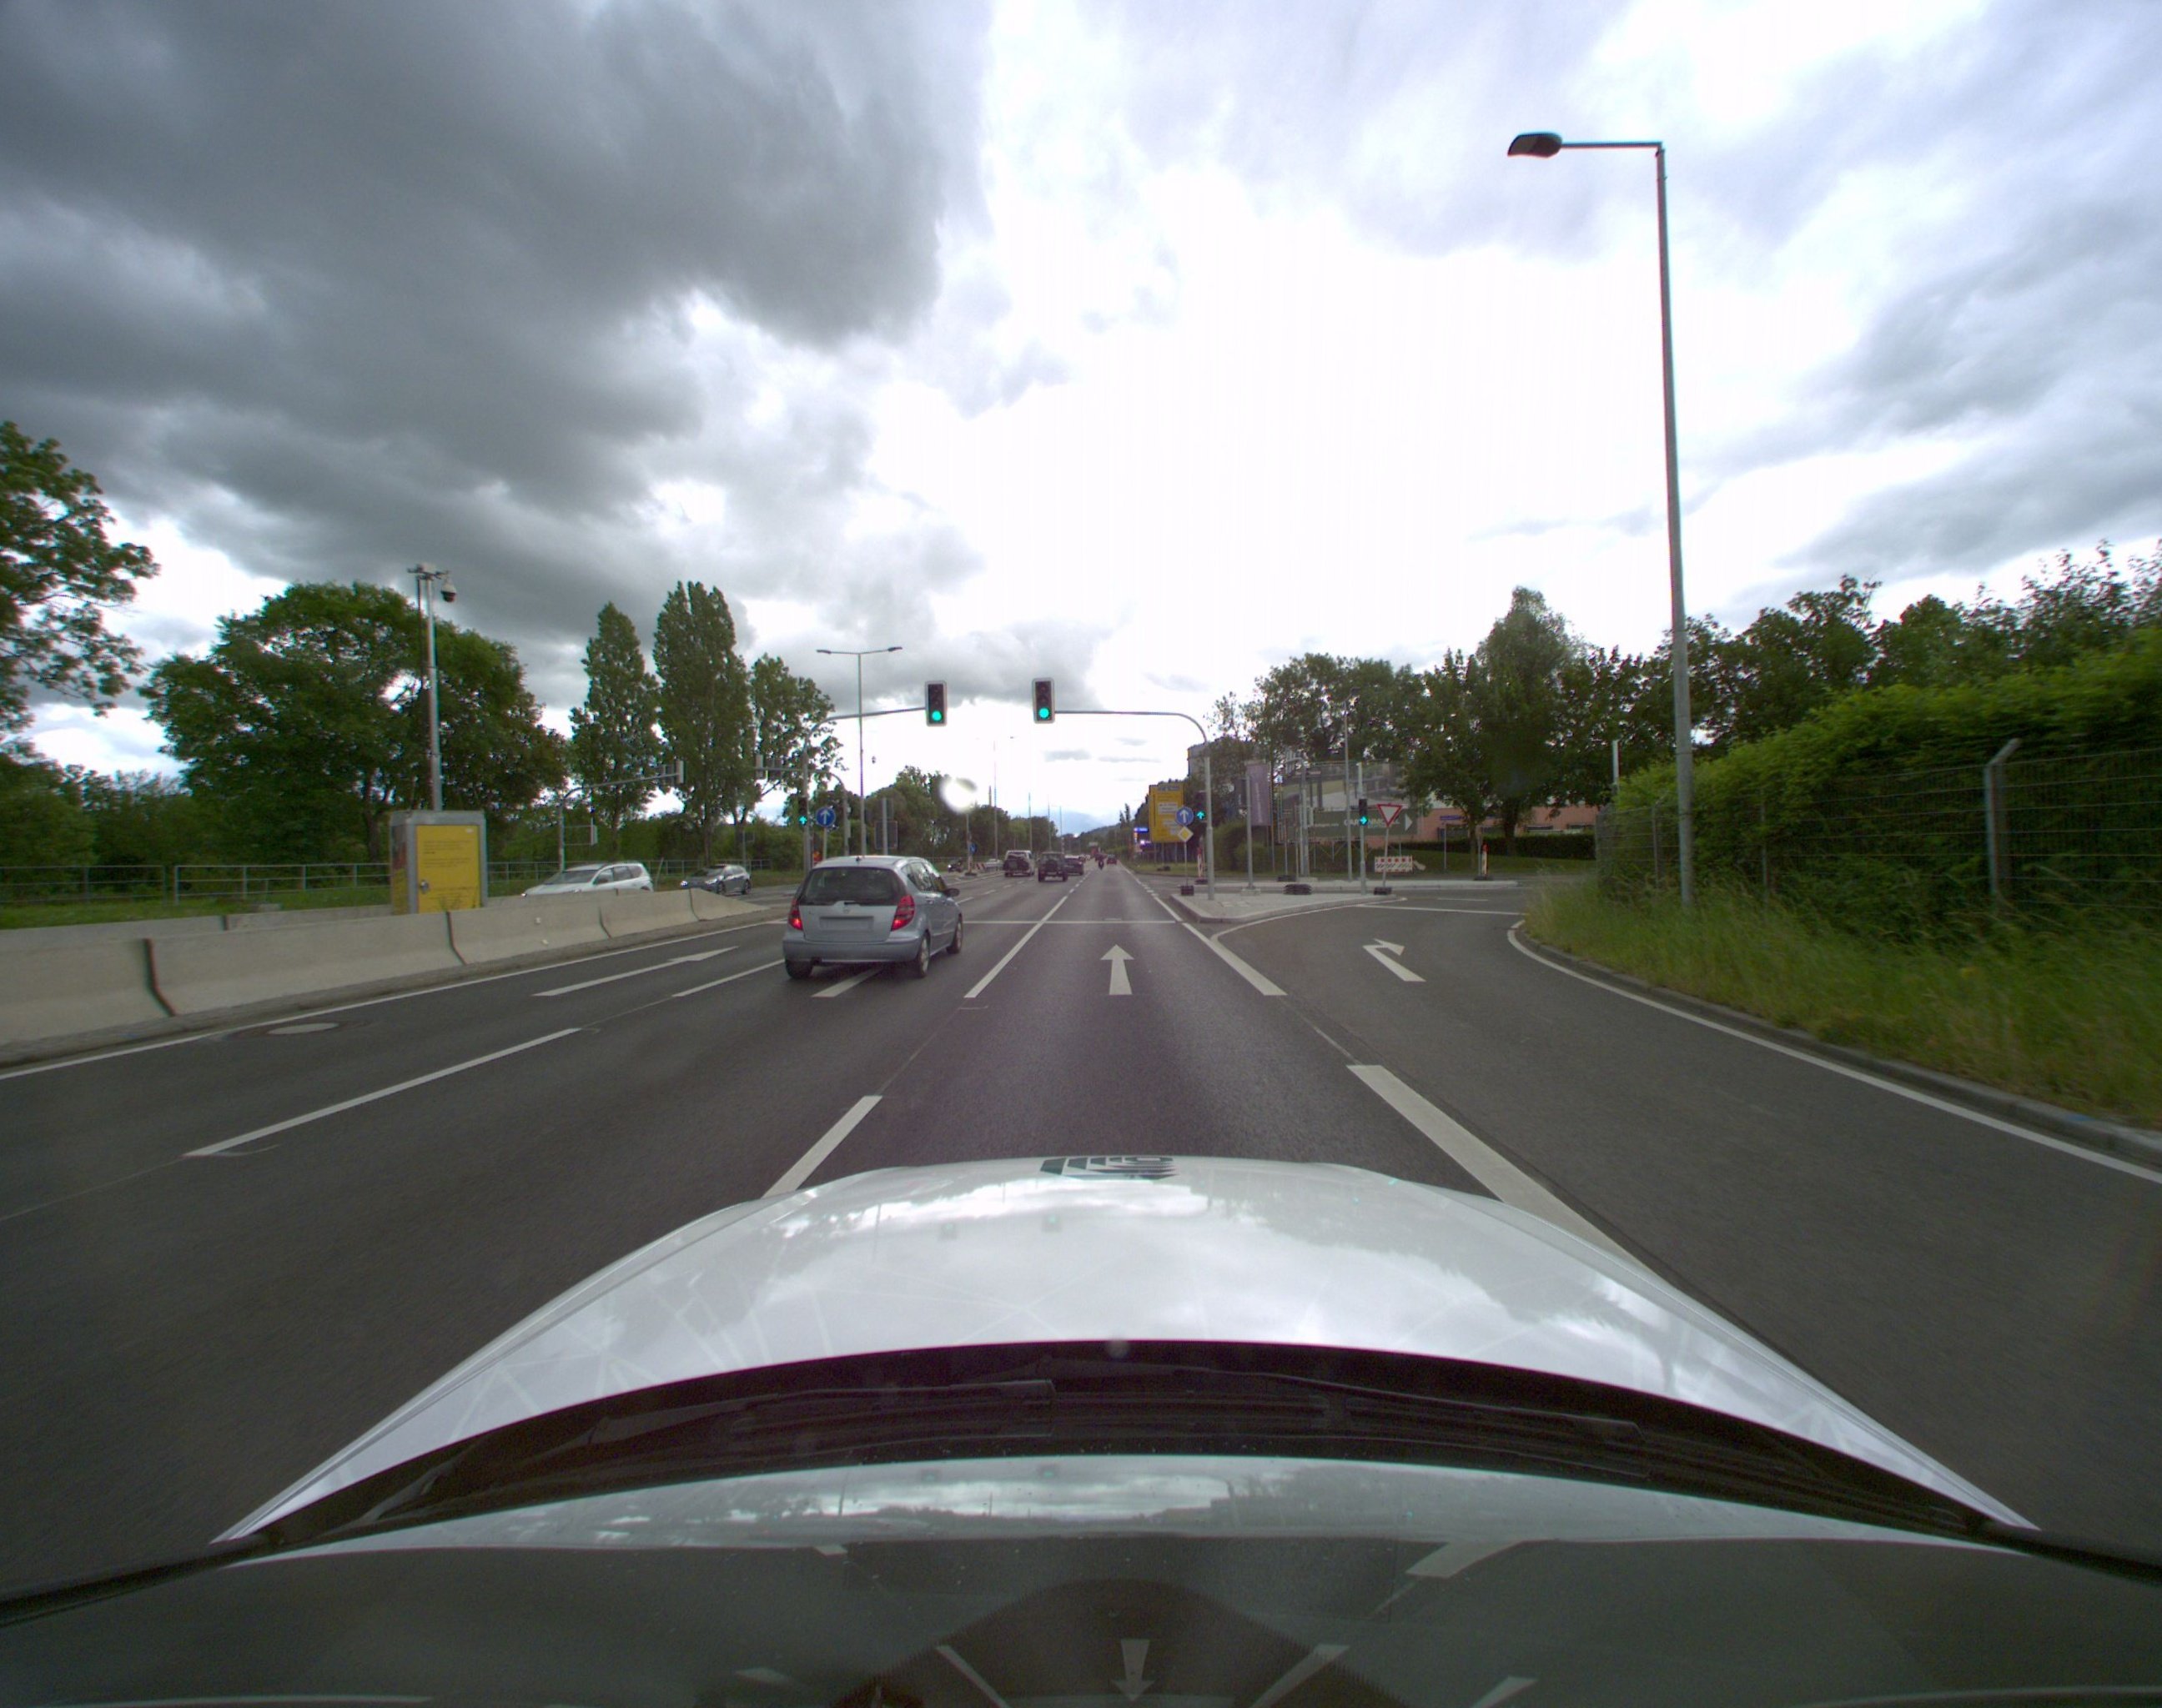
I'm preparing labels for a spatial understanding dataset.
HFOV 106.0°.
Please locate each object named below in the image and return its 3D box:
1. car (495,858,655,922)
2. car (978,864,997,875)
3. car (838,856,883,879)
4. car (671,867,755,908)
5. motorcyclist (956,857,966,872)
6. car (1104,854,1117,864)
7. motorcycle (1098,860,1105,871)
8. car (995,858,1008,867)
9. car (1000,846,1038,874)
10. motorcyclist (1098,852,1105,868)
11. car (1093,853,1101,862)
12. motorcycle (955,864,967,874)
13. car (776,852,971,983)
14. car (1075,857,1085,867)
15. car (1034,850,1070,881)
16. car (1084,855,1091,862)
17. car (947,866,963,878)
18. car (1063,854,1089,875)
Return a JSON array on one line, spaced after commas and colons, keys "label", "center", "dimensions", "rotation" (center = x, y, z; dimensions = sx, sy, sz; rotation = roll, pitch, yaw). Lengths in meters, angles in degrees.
[{"label": "car", "center": [-15.190, 1.012, 24.789], "dimensions": [1.986, 1.684, 4.413], "rotation": [1, 0, 1]}, {"label": "car", "center": [-13.650, 2.249, 119.259], "dimensions": [1.986, 1.493, 4.807], "rotation": [1, 0, 2]}, {"label": "car", "center": [-16.634, 1.008, 61.591], "dimensions": [1.986, 1.550, 4.569], "rotation": [-1, 0, 1]}, {"label": "car", "center": [-17.623, 1.543, 39.282], "dimensions": [1.986, 1.656, 4.290], "rotation": [1, 2, 2]}, {"label": "motorcyclist", "center": [-12.753, 1.118, 86.584], "dimensions": [0.909, 1.522, 0.981], "rotation": [1, -3, 2]}, {"label": "car", "center": [4.784, 0.842, 130.841], "dimensions": [1.987, 1.552, 4.000], "rotation": [1, 0, 1]}, {"label": "motorcycle", "center": [2.082, 1.146, 82.729], "dimensions": [0.703, 1.040, 2.029], "rotation": [1, 0, 3]}, {"label": "car", "center": [-15.619, 1.618, 159.281], "dimensions": [1.986, 1.640, 4.002], "rotation": [1, 0, 2]}, {"label": "car", "center": [-4.458, 0.426, 59.174], "dimensions": [2.207, 1.925, 5.003], "rotation": [1, 0, 1]}, {"label": "motorcyclist", "center": [2.092, 0.640, 82.877], "dimensions": [0.682, 1.610, 0.846], "rotation": [1, 0, 3]}, {"label": "car", "center": [3.892, 0.810, 197.833], "dimensions": [1.986, 2.013, 4.002], "rotation": [1, 0, 2]}, {"label": "motorcycle", "center": [-12.765, 1.600, 86.516], "dimensions": [0.909, 0.989, 2.164], "rotation": [1, -3, 2]}, {"label": "car", "center": [-2.766, 0.758, 11.795], "dimensions": [1.704, 1.530, 4.001], "rotation": [1, 0, 1]}, {"label": "car", "center": [-0.167, 1.737, 179.489], "dimensions": [1.986, 2.013, 4.002], "rotation": [1, 0, 2]}, {"label": "car", "center": [-1.676, 0.647, 48.259], "dimensions": [1.901, 1.684, 4.001], "rotation": [1, 0, 1]}, {"label": "car", "center": [2.035, 1.417, 251.043], "dimensions": [1.986, 2.013, 4.002], "rotation": [1, 0, 2]}, {"label": "car", "center": [-15.644, 2.230, 100.856], "dimensions": [1.467, 1.463, 2.738], "rotation": [1, 0, 2]}, {"label": "car", "center": [-0.378, 0.761, 62.038], "dimensions": [1.833, 1.464, 4.002], "rotation": [1, 0, 1]}]
